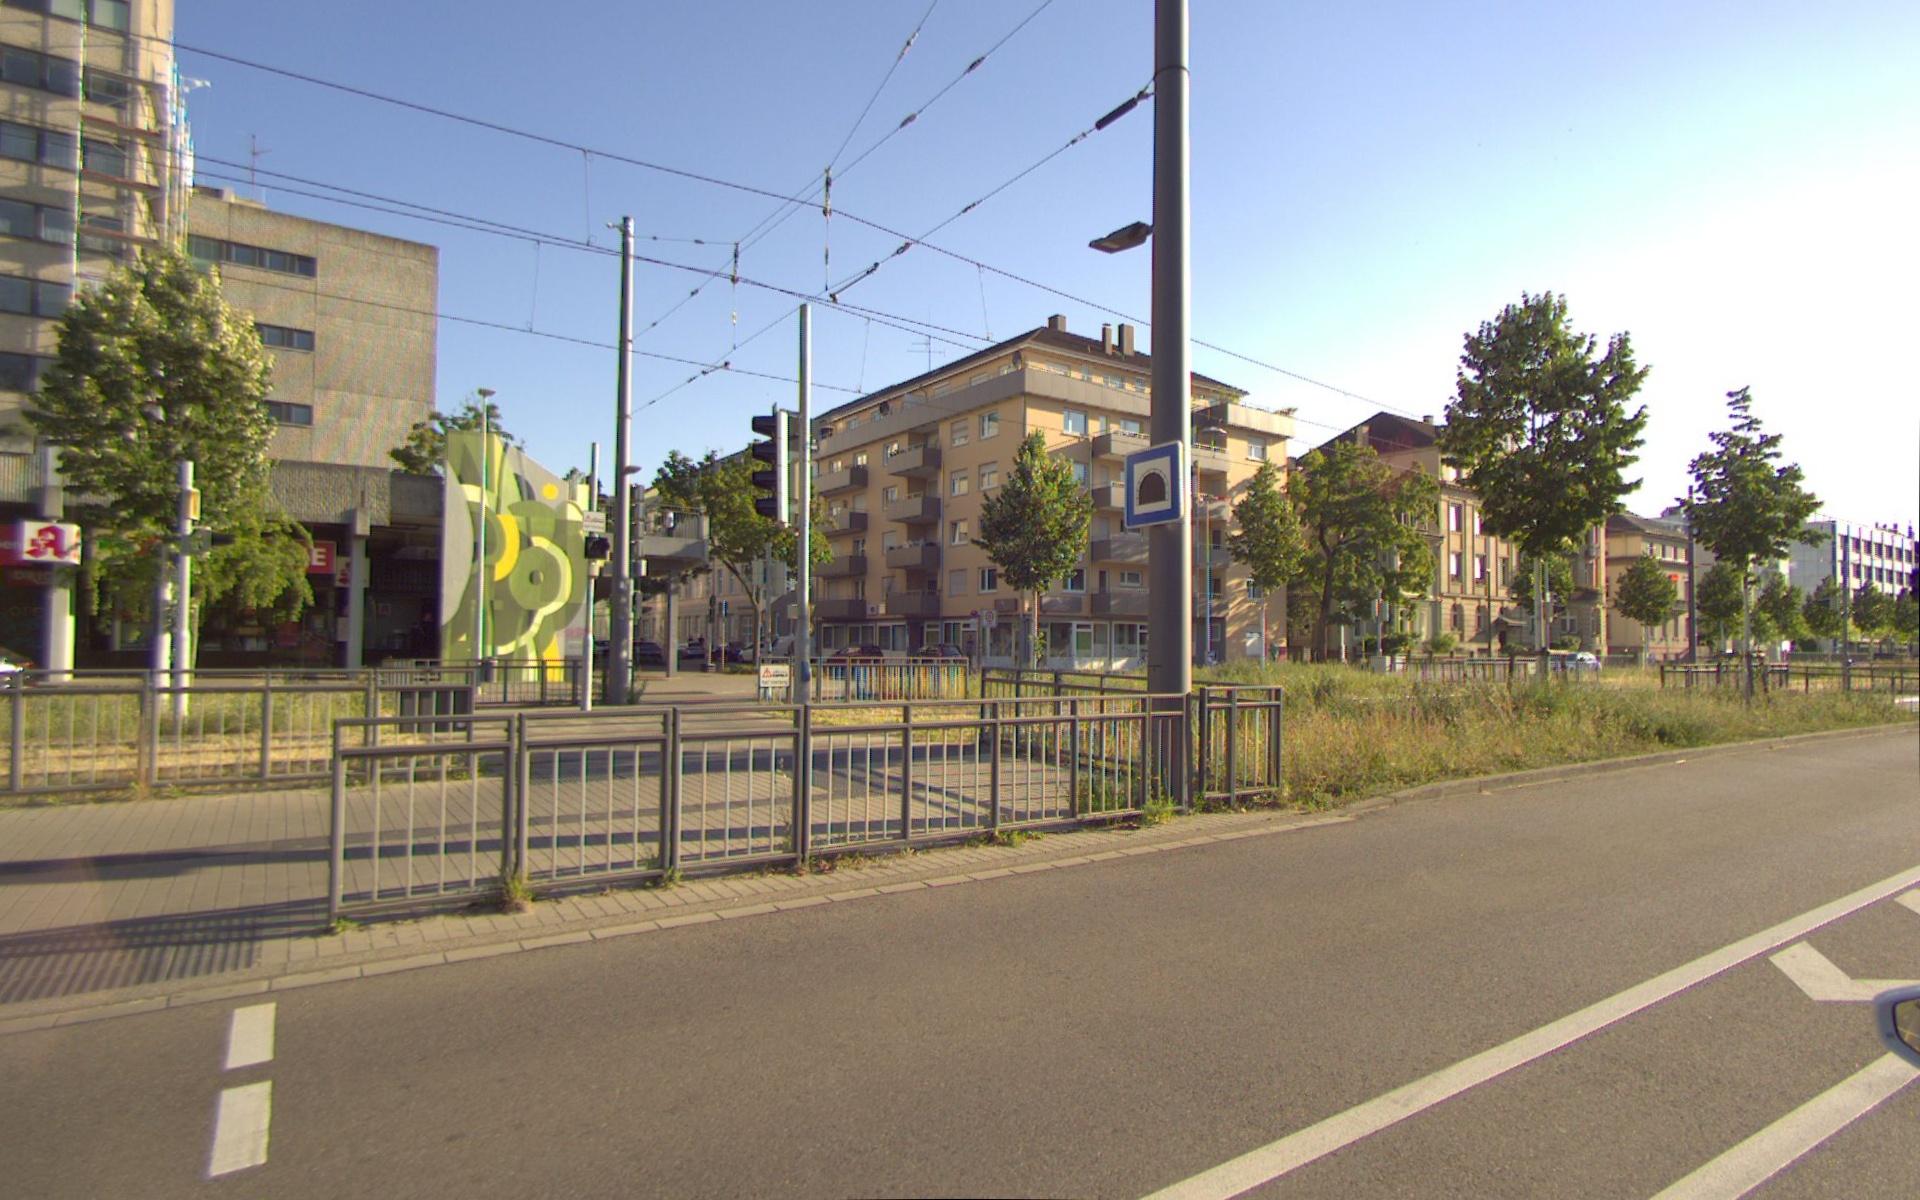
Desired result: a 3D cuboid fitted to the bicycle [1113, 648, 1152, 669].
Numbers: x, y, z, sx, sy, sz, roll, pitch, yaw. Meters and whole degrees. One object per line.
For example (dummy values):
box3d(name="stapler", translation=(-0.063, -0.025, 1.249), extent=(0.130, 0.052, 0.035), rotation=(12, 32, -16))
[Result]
box3d(name="bicycle", translation=(9.724, 3.263, 56.479), extent=(2.560, 1.152, 0.527), rotation=(2, -2, -35))

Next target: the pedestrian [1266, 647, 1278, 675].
box3d(name="pedestrian", translation=(17.866, 3.492, 57.552), extent=(0.444, 1.576, 0.515), rotation=(2, -2, -36))

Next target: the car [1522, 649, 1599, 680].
box3d(name="car", translation=(31.074, 3.315, 51.901), extent=(4.618, 1.482, 1.764), rotation=(2, -3, -36))

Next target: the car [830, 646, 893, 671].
box3d(name="car", translation=(-5.751, 3.382, 58.424), extent=(1.980, 1.321, 3.962), rotation=(2, -3, -34))

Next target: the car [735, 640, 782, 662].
box3d(name="car", translation=(-14.141, 3.559, 70.373), extent=(1.829, 1.452, 3.962), rotation=(2, -3, -35))

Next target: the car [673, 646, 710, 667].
box3d(name="car", translation=(-21.917, 4.577, 81.876), extent=(1.803, 1.627, 3.850), rotation=(2, -3, -34))

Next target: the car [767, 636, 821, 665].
box3d(name="car", translation=(-10.808, 3.262, 65.366), extent=(1.980, 1.766, 3.962), rotation=(2, -2, -34))

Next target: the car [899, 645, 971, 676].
box3d(name="car", translation=(-1.338, 3.098, 51.725), extent=(1.829, 1.516, 3.962), rotation=(2, -3, -35))

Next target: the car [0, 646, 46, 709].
box3d(name="car", translation=(-22.621, 1.679, 22.382), extent=(3.396, 1.290, 1.622), rotation=(2, -1, 12))
